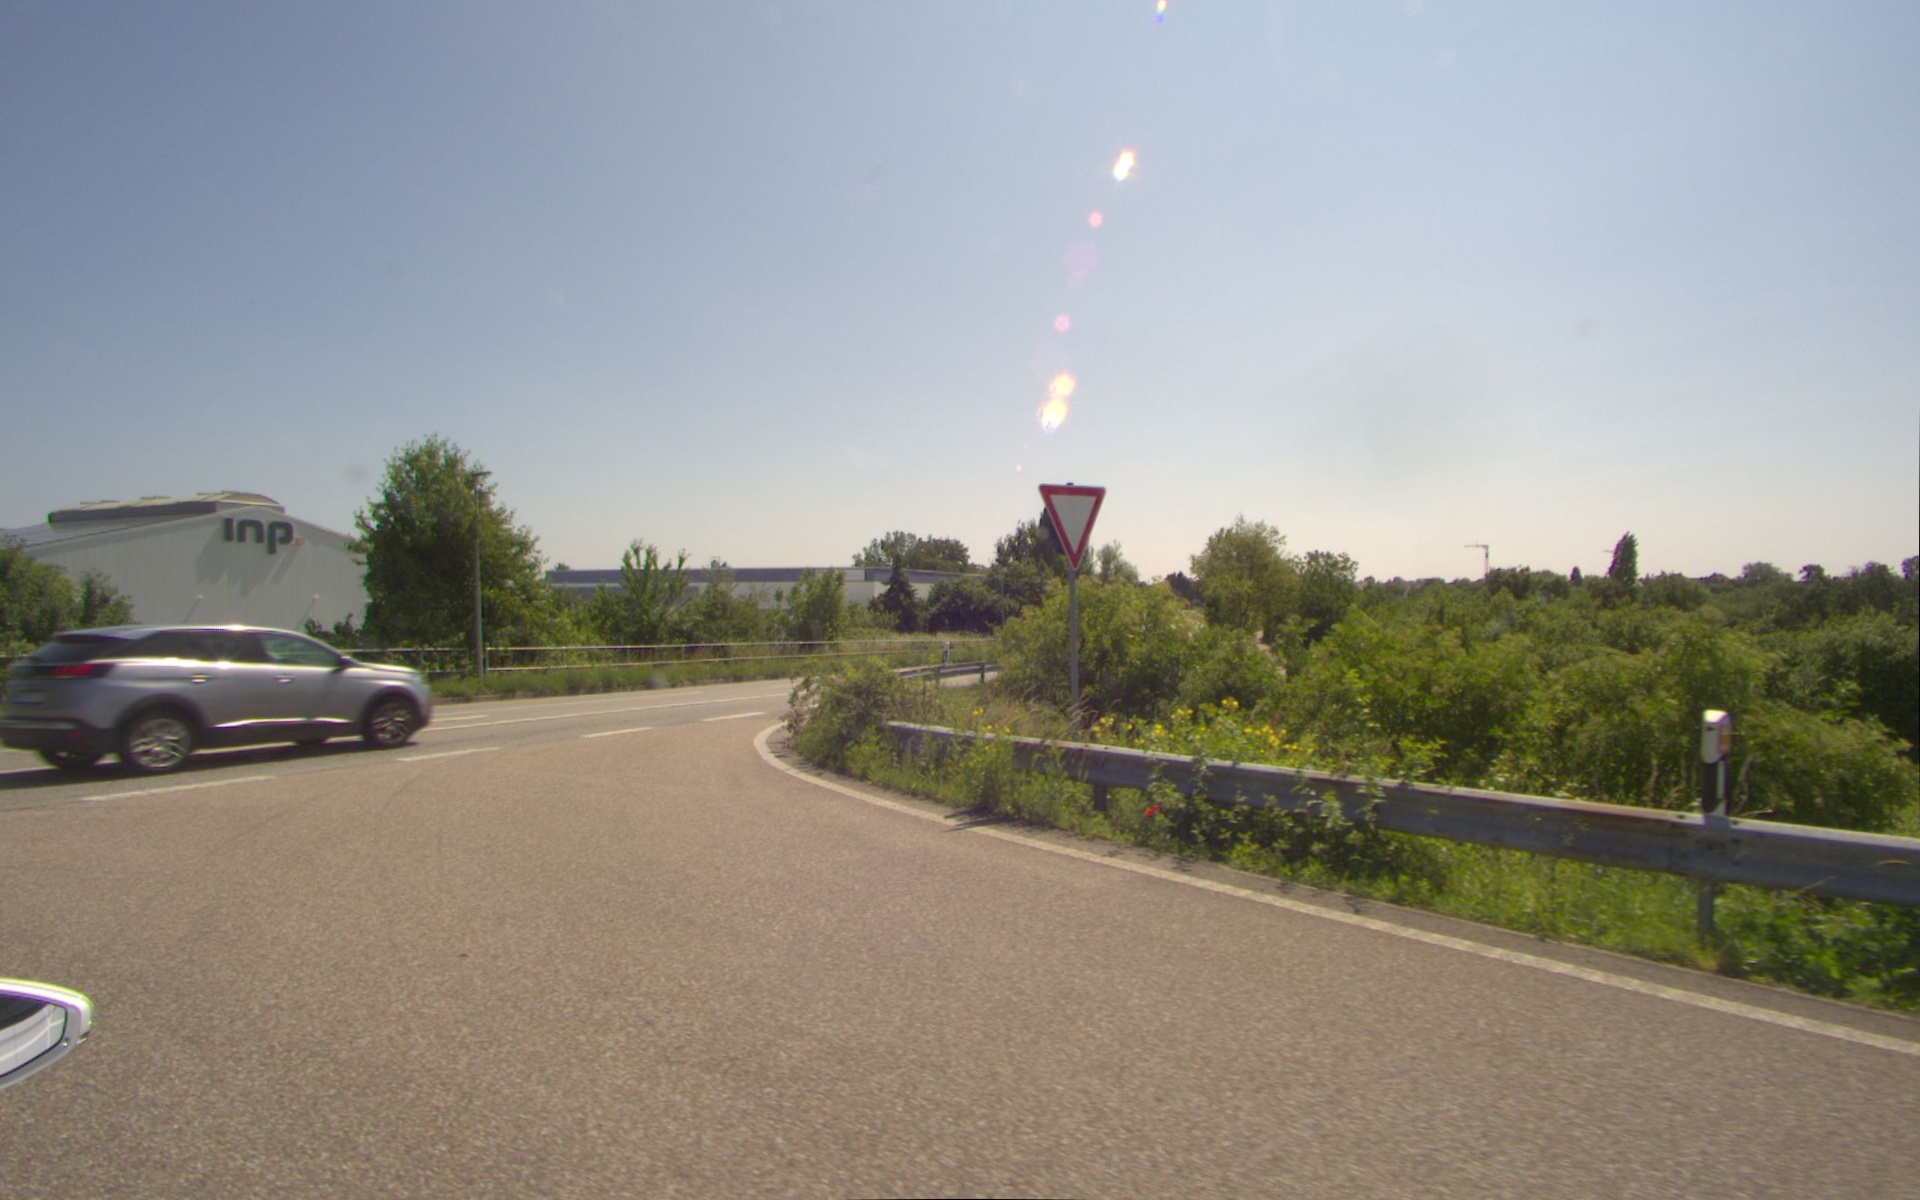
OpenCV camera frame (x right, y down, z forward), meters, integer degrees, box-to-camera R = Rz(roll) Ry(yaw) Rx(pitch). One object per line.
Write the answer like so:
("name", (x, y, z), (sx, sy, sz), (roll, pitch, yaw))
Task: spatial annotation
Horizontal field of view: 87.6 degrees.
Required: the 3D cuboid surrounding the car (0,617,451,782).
("car", (-8.750, 1.074, 12.165), (1.768, 1.603, 4.480), (-1, -2, 24))
